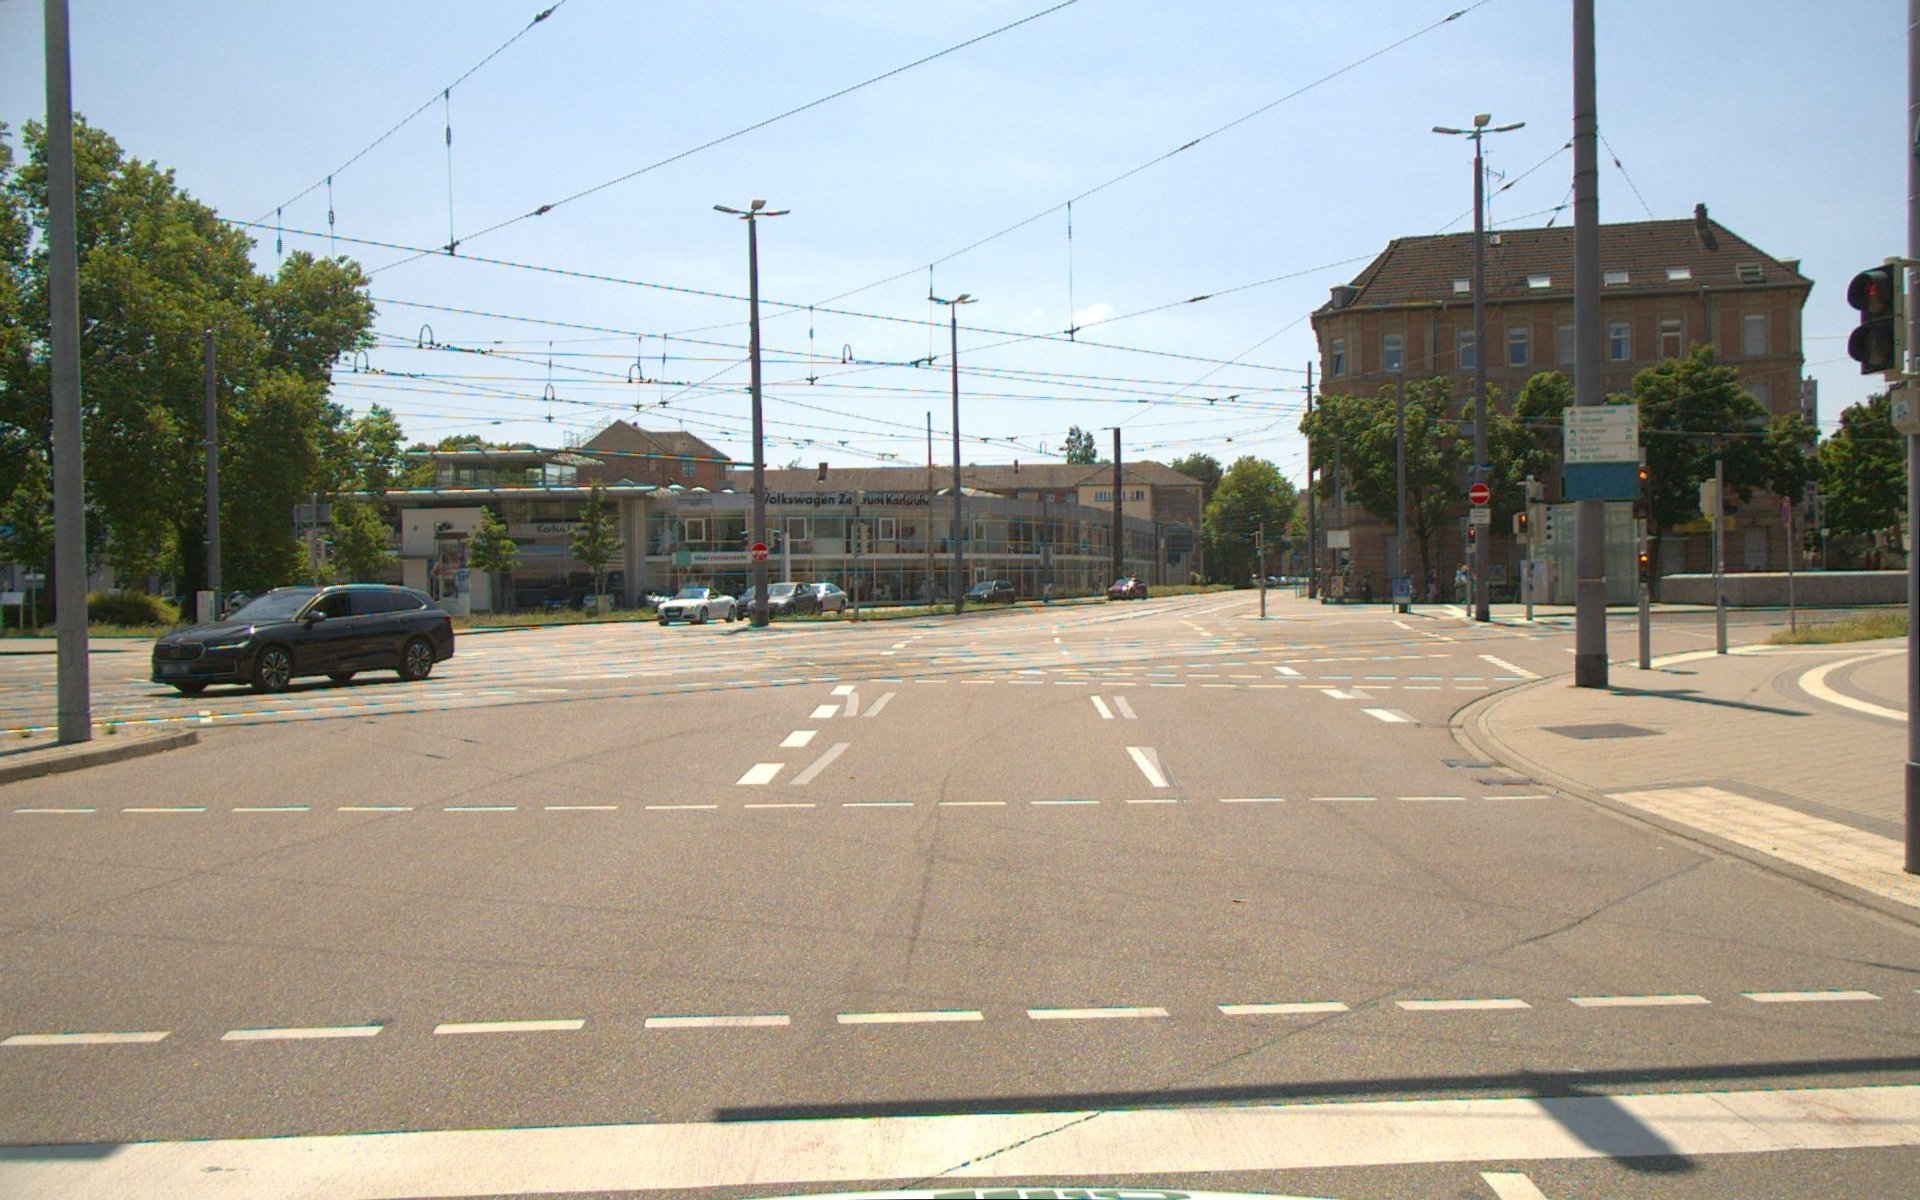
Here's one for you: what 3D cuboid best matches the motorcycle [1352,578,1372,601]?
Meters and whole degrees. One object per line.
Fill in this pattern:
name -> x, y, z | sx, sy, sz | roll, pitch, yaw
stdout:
motorcycle -> 19.313, -0.528, 79.450 | 0.568, 1.093, 1.947 | -1, 1, 3

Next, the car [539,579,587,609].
car -> -23.930, -0.353, 99.793 | 1.881, 1.737, 4.000 | 1, 0, 0

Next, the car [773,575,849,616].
car -> -6.833, -0.228, 76.185 | 1.951, 1.770, 4.546 | -1, 1, 16

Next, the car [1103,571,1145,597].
car -> 11.753, -1.128, 118.315 | 1.952, 1.807, 4.000 | 1, 0, 21

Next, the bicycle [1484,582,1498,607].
bicycle -> 25.448, -0.266, 79.244 | 0.539, 1.139, 1.872 | -1, 1, 15

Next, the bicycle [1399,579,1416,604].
bicycle -> 21.588, -0.417, 79.865 | 0.433, 1.166, 2.095 | 1, 0, 6

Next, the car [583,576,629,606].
car -> -21.339, -0.508, 99.754 | 1.881, 1.737, 4.000 | 1, 0, 0

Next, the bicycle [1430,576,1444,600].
bicycle -> 22.809, -0.581, 79.146 | 0.539, 1.139, 1.822 | -1, 1, 13

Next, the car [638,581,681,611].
car -> -18.121, -0.250, 99.866 | 1.881, 1.737, 4.000 | 1, 0, 0

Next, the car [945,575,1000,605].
car -> 0.763, -0.612, 98.867 | 2.034, 1.712, 4.850 | -1, 1, 16

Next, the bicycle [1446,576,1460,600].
bicycle -> 23.502, -0.576, 78.856 | 0.539, 1.139, 1.822 | -1, 1, 15

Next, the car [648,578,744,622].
car -> -10.162, -0.030, 64.079 | 2.032, 1.607, 4.851 | -1, 1, 13

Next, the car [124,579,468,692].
car -> -9.762, 0.455, 24.798 | 1.953, 1.491, 4.845 | -1, 1, 23

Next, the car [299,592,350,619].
car -> -38.643, 0.319, 100.625 | 1.732, 1.536, 4.322 | -1, 1, -5

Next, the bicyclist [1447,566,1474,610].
bicyclist -> 21.297, -0.507, 70.352 | 1.047, 1.839, 0.475 | 1, -1, -26

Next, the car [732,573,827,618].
car -> -6.982, -0.210, 64.439 | 1.951, 1.666, 4.850 | -1, 1, 16

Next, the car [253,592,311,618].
car -> -41.443, 0.297, 101.145 | 1.731, 1.536, 4.327 | -1, 1, 0

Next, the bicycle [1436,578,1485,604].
bicycle -> 21.300, -0.395, 70.357 | 2.079, 1.071, 0.687 | -1, 0, -26

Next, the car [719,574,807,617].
car -> -8.327, -0.211, 70.246 | 1.951, 1.730, 4.850 | -1, 1, 16

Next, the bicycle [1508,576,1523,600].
bicycle -> 26.586, -0.595, 79.153 | 0.539, 1.139, 1.931 | -1, 1, 15

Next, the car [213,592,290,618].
car -> -45.563, 0.298, 106.448 | 4.279, 1.536, 1.750 | -1, 1, -36
